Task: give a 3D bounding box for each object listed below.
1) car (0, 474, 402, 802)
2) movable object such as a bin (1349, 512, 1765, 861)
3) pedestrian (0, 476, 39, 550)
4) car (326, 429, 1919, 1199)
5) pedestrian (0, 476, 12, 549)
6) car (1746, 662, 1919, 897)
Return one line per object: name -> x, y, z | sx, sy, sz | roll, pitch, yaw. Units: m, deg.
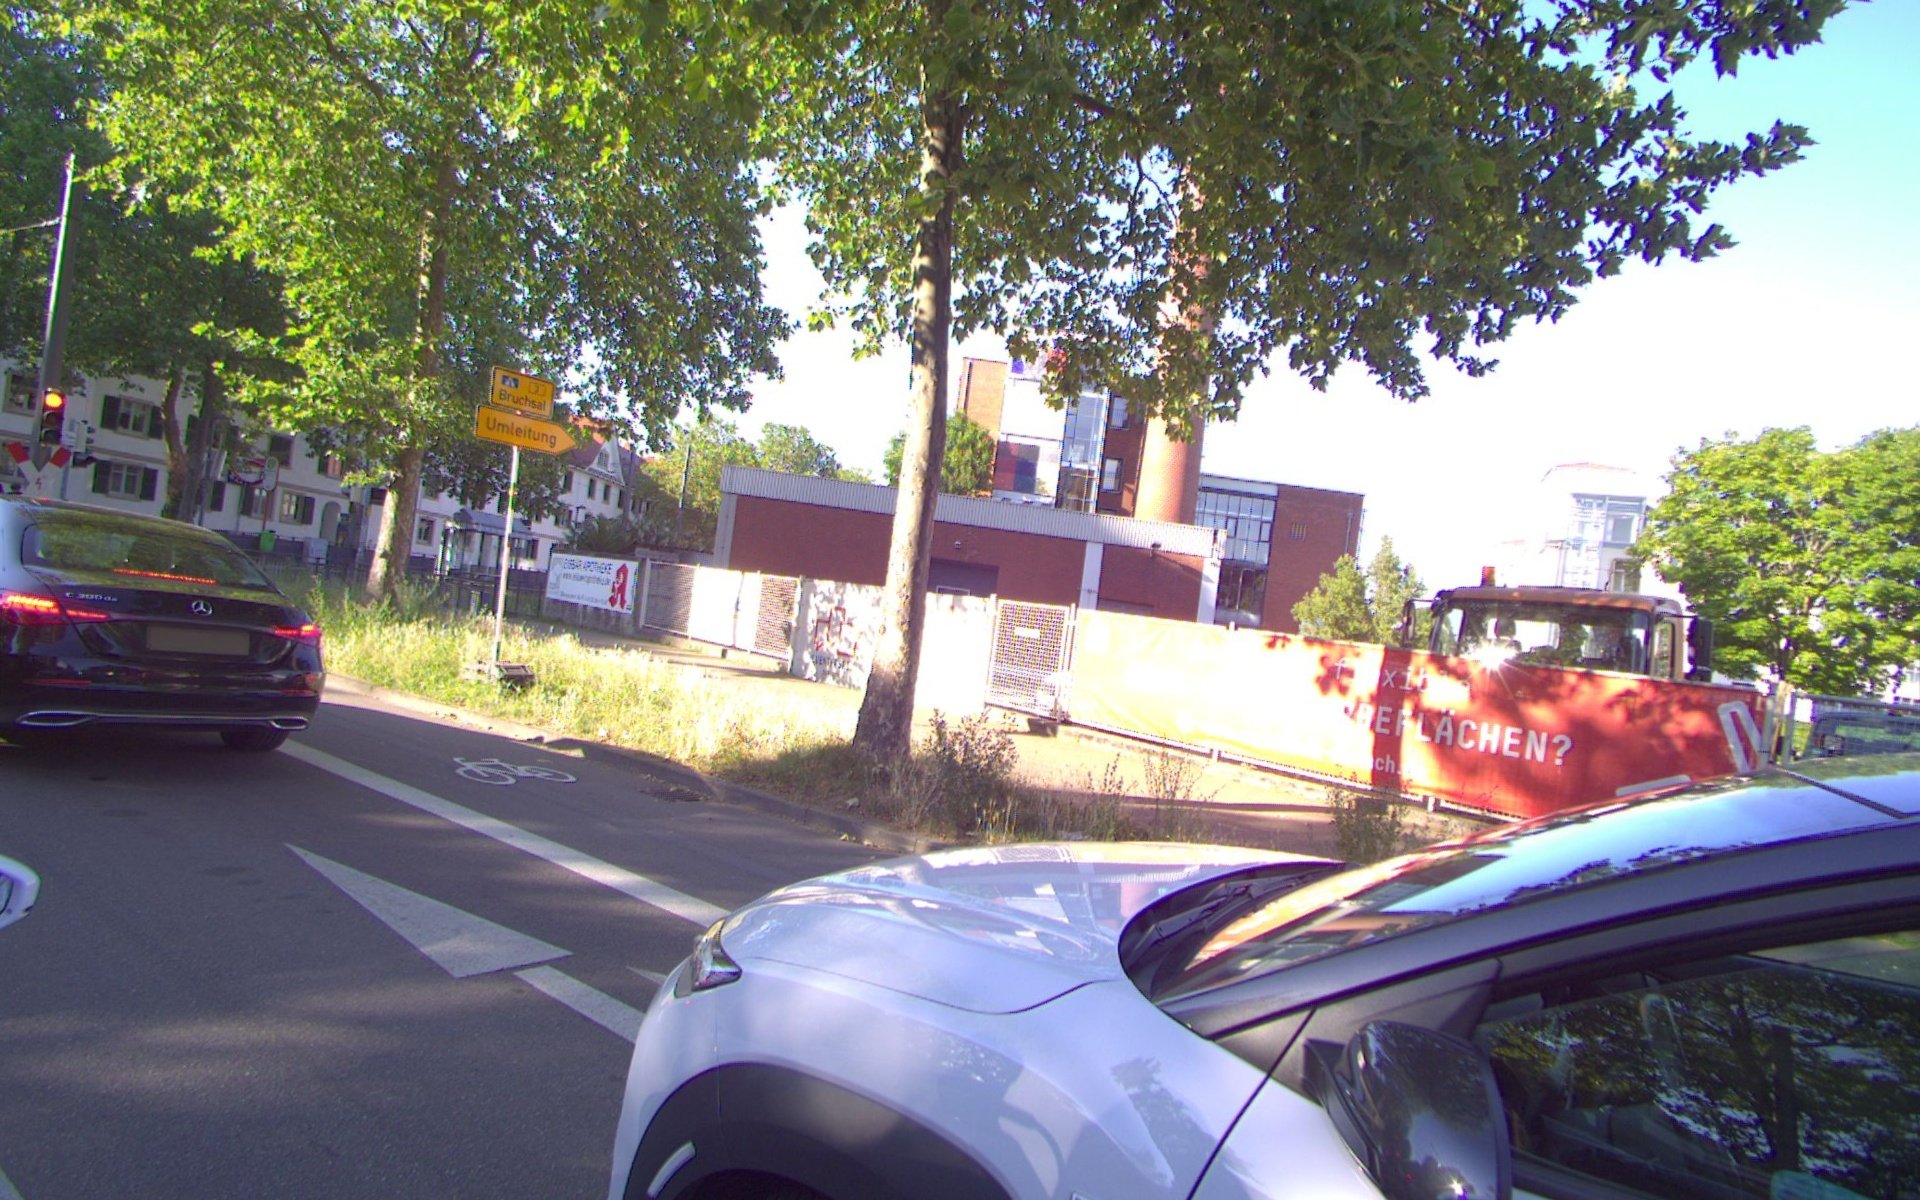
car -> -5.962, 0.028, 6.709 | 4.307, 1.508, 1.894 | 9, -1, 31
movable object such as a bin -> 7.649, 1.032, 12.407 | 3.172, 3.084, 6.266 | 6, -2, 41
pedestrian -> -26.518, -2.432, 28.130 | 0.825, 1.940, 0.707 | 7, -1, 28
car -> 1.187, 0.892, 1.271 | 3.901, 1.616, 1.893 | 9, -1, 33
pedestrian -> -26.115, -2.396, 26.911 | 0.825, 1.940, 0.707 | 7, -1, 28
car -> 9.578, 1.822, 10.150 | 2.016, 1.849, 4.583 | 6, -3, 44
